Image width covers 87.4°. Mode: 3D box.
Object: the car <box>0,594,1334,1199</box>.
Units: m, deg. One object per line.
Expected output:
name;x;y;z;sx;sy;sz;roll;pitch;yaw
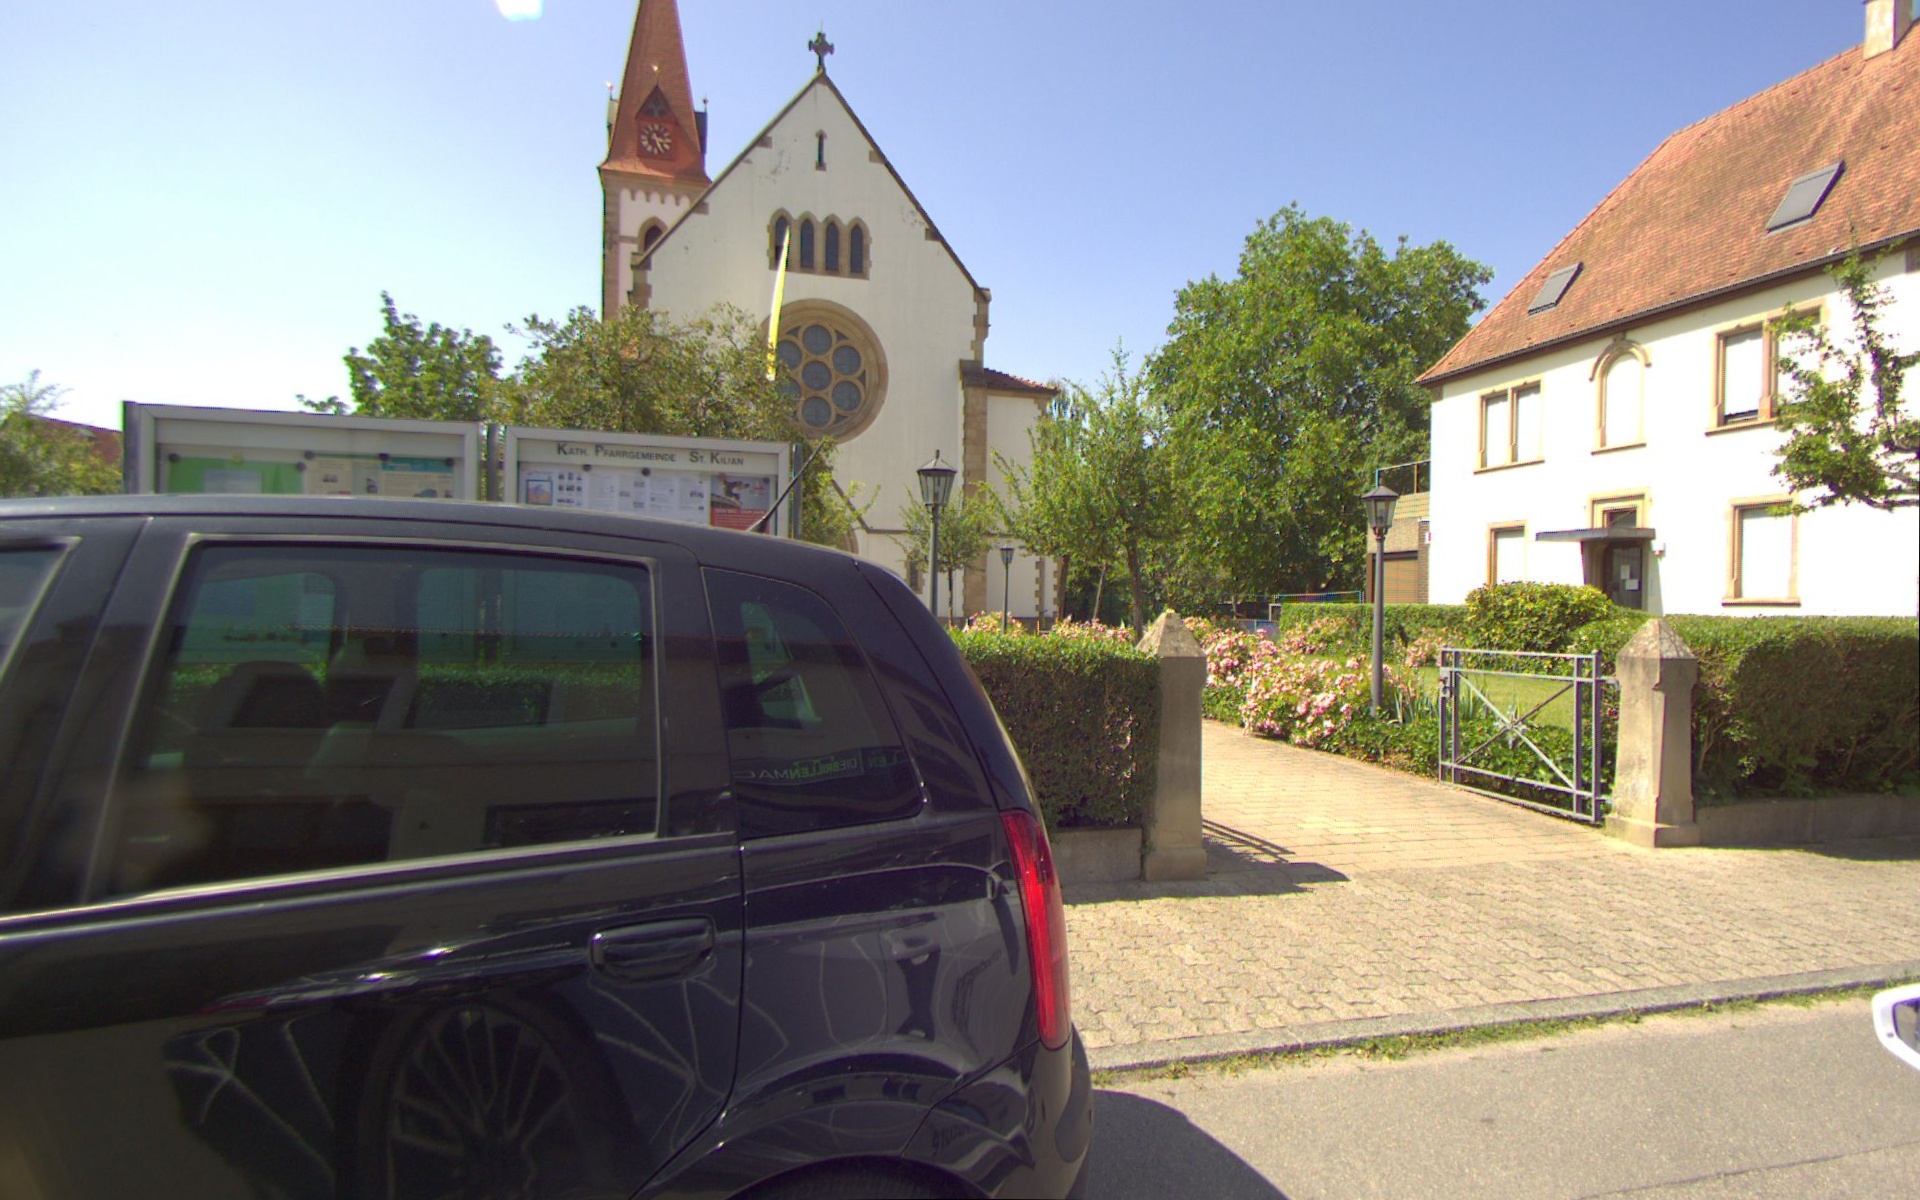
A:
car;-1.412;0.821;1.872;3.706;1.650;1.638;1;0;-16
